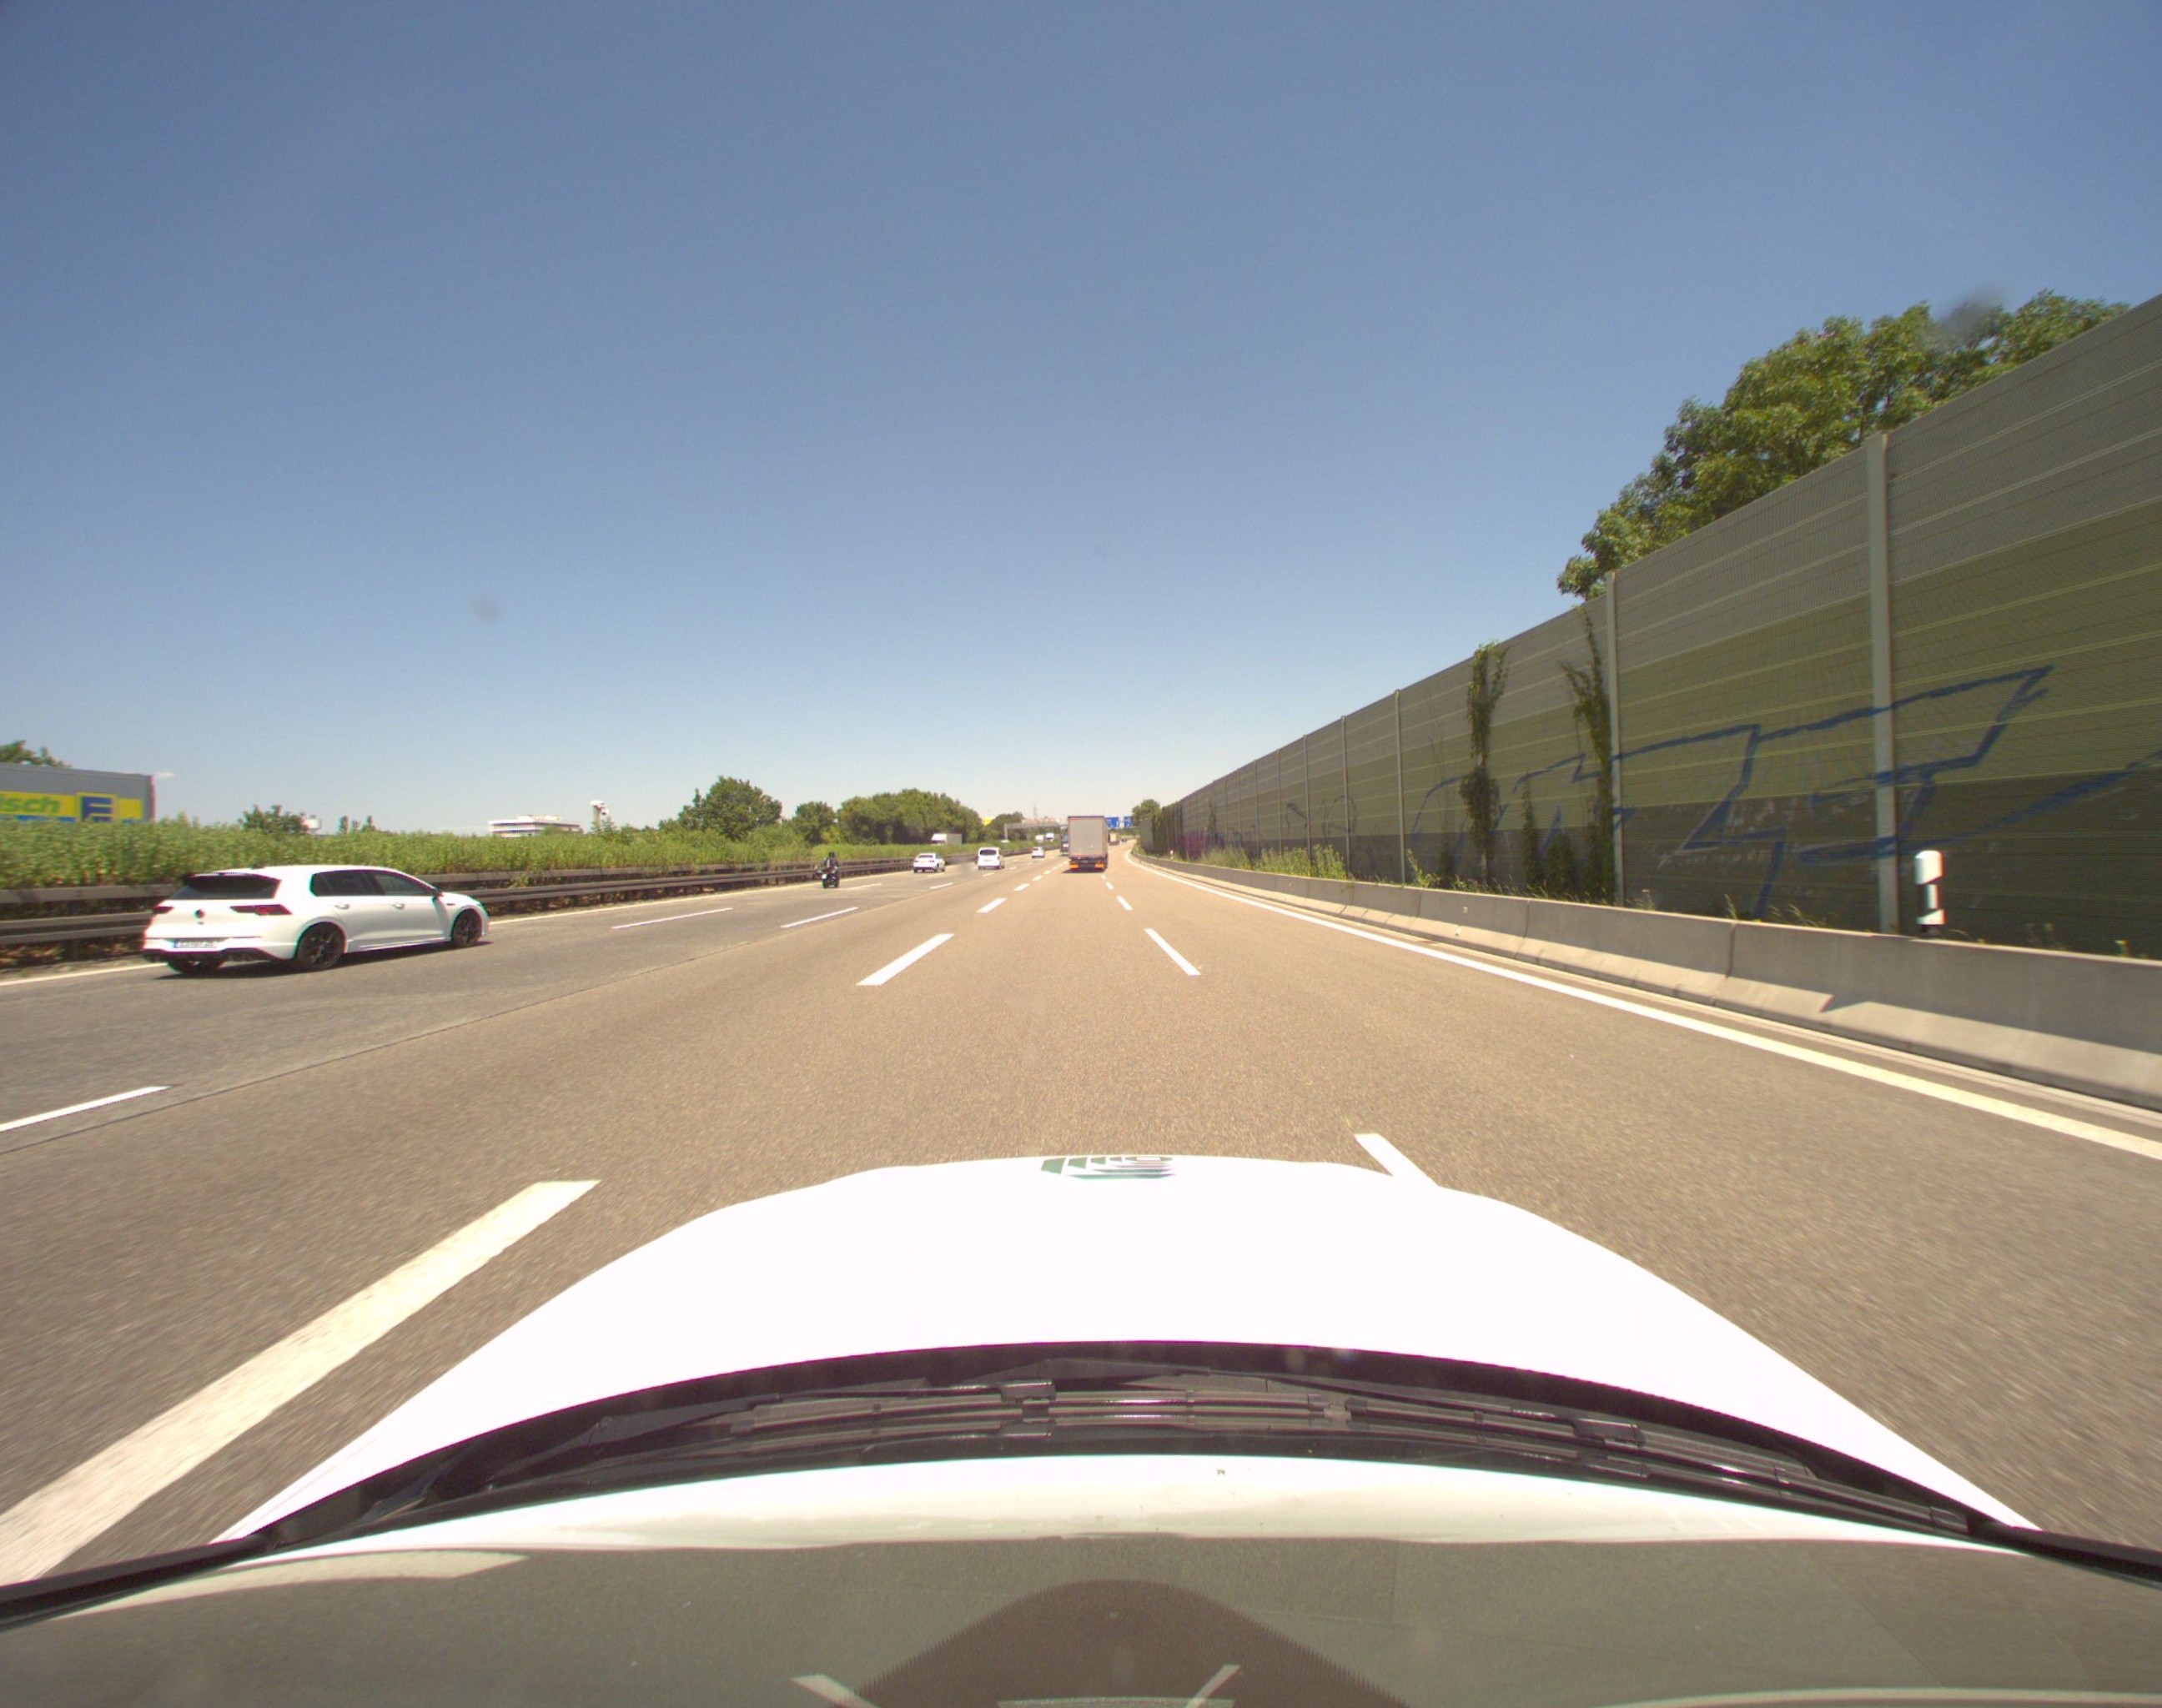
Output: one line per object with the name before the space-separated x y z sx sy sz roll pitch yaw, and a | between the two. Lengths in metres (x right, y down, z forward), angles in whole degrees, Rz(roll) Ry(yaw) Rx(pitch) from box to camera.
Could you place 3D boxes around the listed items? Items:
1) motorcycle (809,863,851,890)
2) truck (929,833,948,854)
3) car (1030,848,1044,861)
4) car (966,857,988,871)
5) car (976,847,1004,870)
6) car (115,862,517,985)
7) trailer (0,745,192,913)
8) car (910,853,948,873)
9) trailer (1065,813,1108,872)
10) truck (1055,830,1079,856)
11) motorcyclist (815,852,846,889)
motorcycle | -11.133 0.978 36.212 0.909 1.089 2.850 -1 0 1
truck | -27.622 -2.098 157.911 2.528 3.947 5.169 -1 0 1
car | -6.762 0.096 125.301 1.899 1.851 4.630 -2 1 -1
car | -11.619 1.139 91.161 1.751 1.409 5.038 -2 -1 0
car | -7.846 0.438 70.492 1.925 1.852 4.689 -2 -1 -1
car | -11.156 0.887 12.493 1.777 1.440 4.666 -2 0 -1
trailer | -26.910 -0.582 19.036 2.915 3.967 8.652 -1 0 -2
car | -11.556 0.643 62.226 1.870 1.440 5.126 -1 0 1
trailer | 0.418 -0.800 62.477 2.918 4.015 12.037 -2 0 0
truck | -2.371 -2.024 144.083 3.734 4.269 14.500 0 1 1
motorcyclist | -11.145 0.712 36.271 0.890 1.597 1.299 -1 0 1
